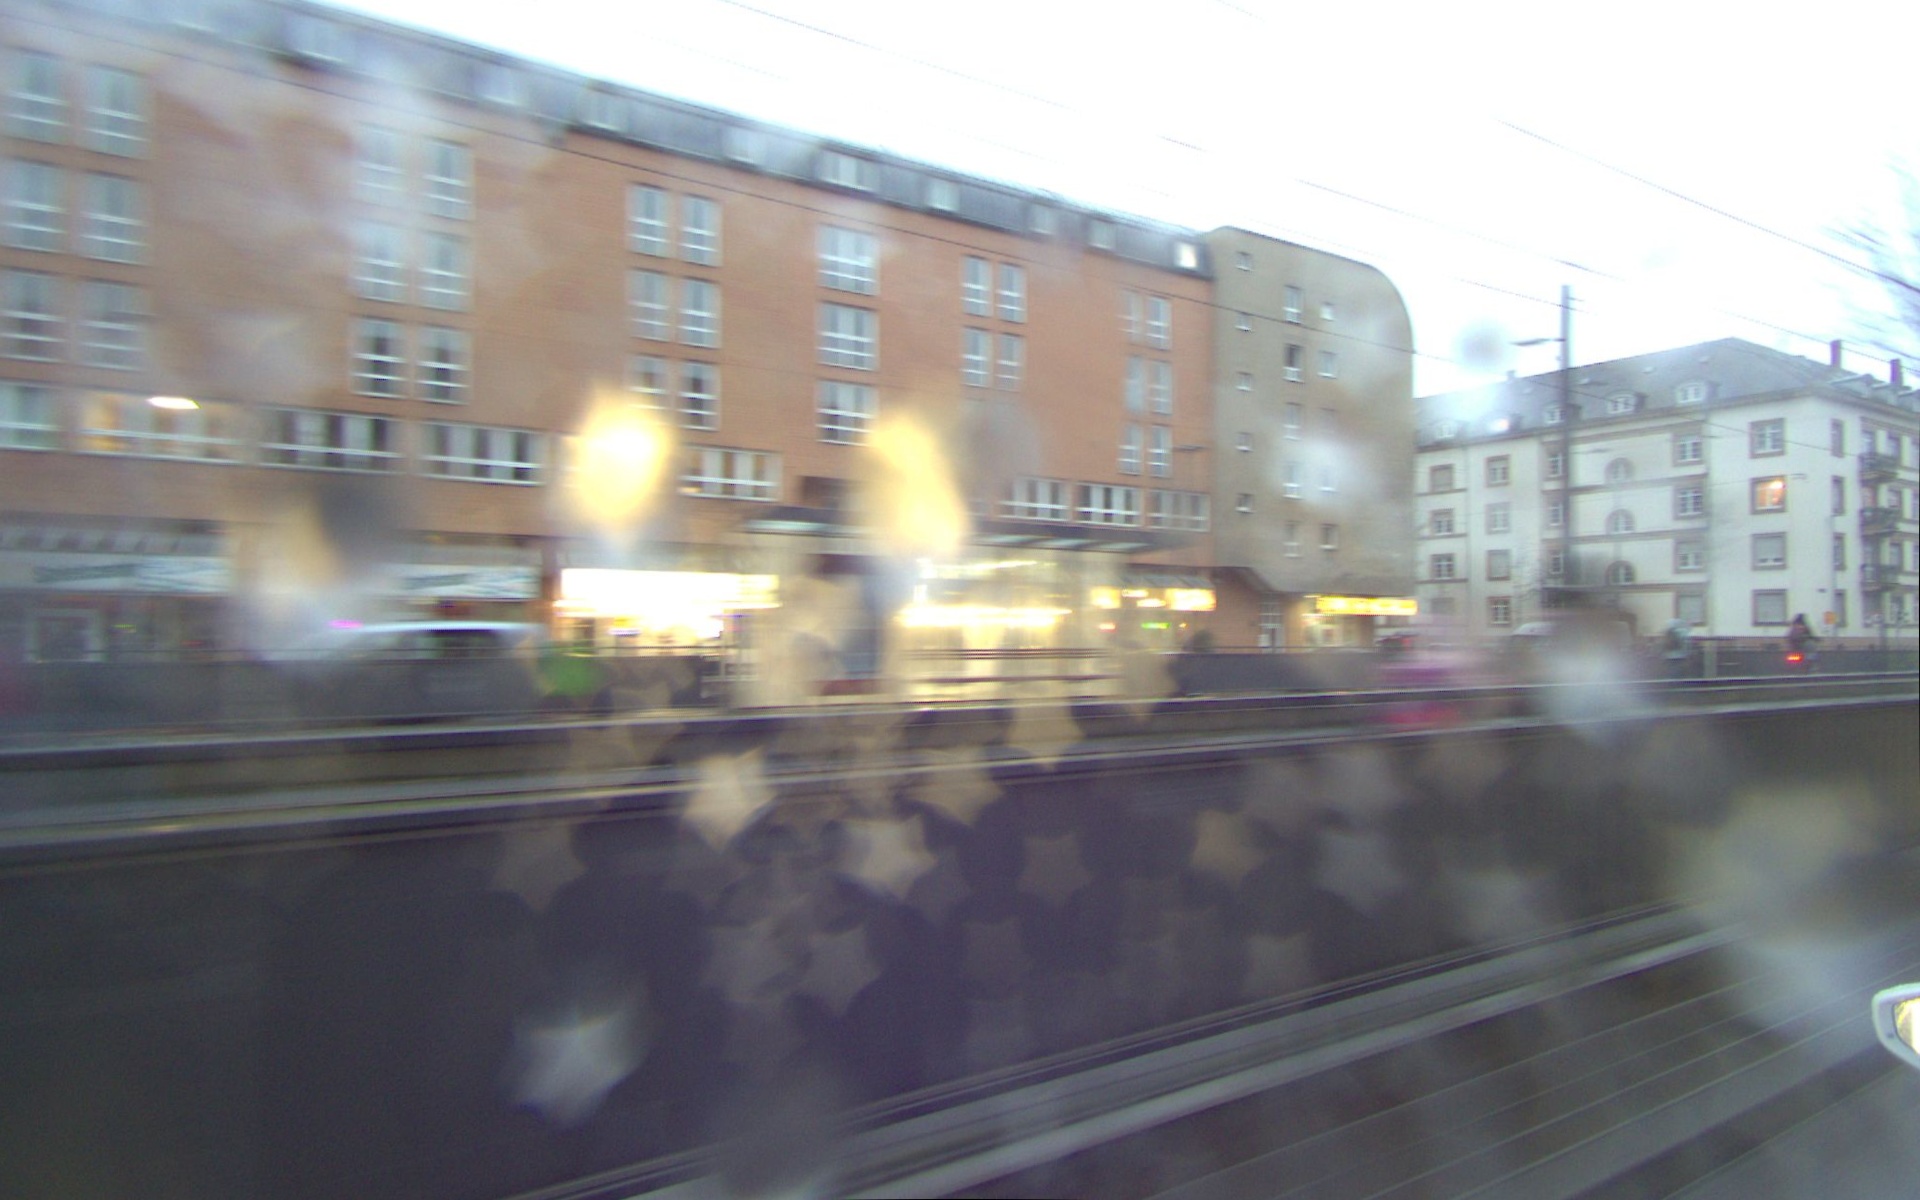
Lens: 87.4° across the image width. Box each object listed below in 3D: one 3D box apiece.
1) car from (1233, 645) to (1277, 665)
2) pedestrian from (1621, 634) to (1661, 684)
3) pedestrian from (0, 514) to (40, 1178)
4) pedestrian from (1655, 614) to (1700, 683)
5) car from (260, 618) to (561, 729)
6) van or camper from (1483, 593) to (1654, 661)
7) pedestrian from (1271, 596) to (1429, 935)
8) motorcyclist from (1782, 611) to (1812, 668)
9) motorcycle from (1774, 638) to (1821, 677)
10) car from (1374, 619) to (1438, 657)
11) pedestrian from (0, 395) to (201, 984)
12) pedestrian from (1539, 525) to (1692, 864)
[{"bbox_3d":[21.943,4.044,74.699,3.282,1.443,1.445,1,-3,-34],"label":"car"},{"bbox_3d":[15.965,1.374,23.557,0.596,1.117,0.592,1,0,17],"label":"pedestrian"},{"bbox_3d":[-2.686,0.634,2.431,0.557,1.701,0.478,1,-2,-32],"label":"pedestrian"},{"bbox_3d":[16.456,1.102,23.055,0.624,1.544,0.756,1,0,19],"label":"pedestrian"},{"bbox_3d":[-7.669,0.982,14.229,3.505,1.372,1.810,2,-1,-31],"label":"car"},{"bbox_3d":[25.911,1.143,42.762,6.654,2.718,2.768,1,-1,-21],"label":"van or camper"},{"bbox_3d":[2.131,0.850,5.504,0.636,1.714,0.537,1,-2,-32],"label":"pedestrian"},{"bbox_3d":[22.785,1.065,27.346,0.551,1.515,0.495,1,0,-34],"label":"motorcyclist"},{"bbox_3d":[22.843,1.546,27.386,1.788,1.021,0.509,1,-1,-34],"label":"motorcycle"},{"bbox_3d":[25.336,2.149,56.995,4.112,2.061,1.727,2,-3,-41],"label":"car"},{"bbox_3d":[-2.742,0.249,3.040,0.615,1.611,0.615,1,-2,-32],"label":"pedestrian"},{"bbox_3d":[3.574,0.488,5.526,0.636,1.726,0.568,0,-1,26],"label":"pedestrian"}]
